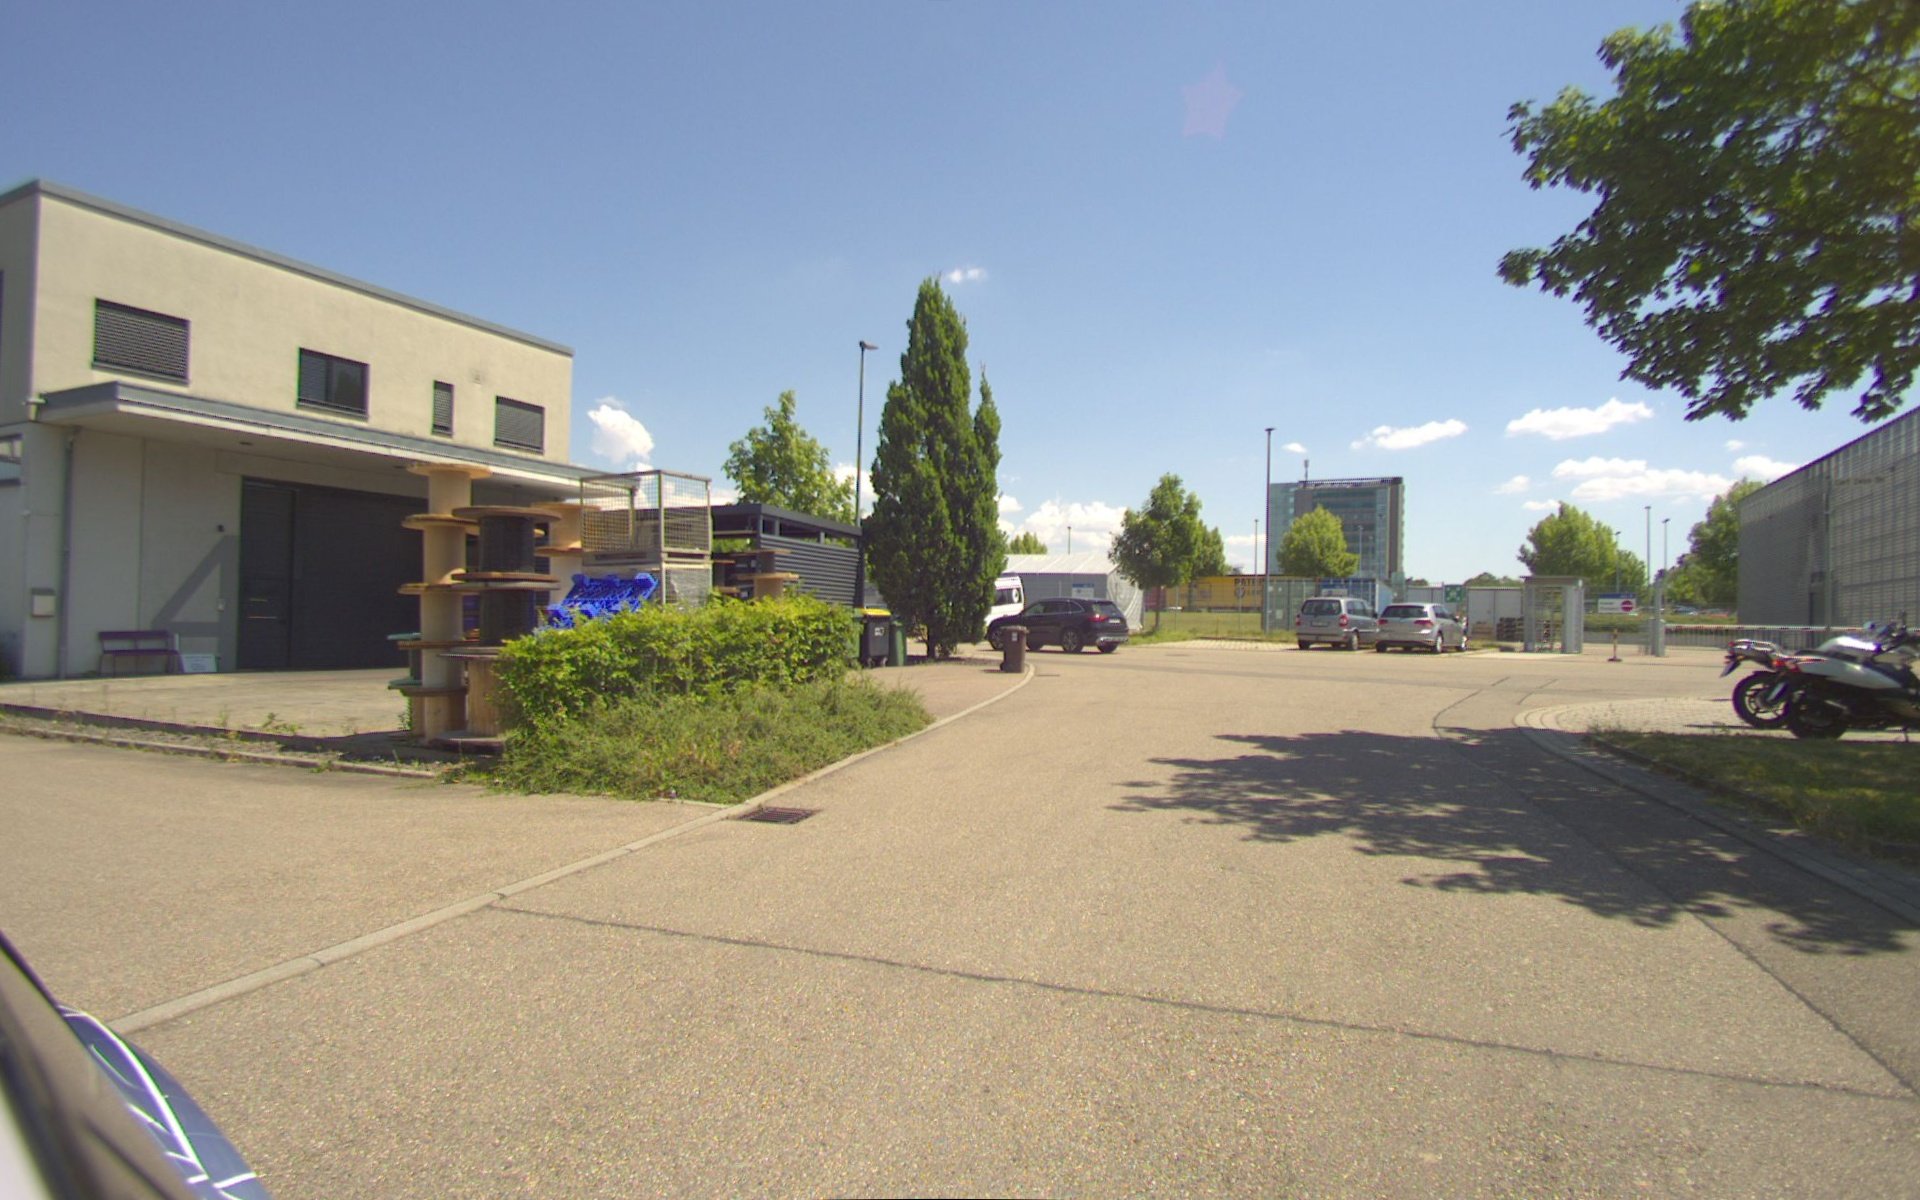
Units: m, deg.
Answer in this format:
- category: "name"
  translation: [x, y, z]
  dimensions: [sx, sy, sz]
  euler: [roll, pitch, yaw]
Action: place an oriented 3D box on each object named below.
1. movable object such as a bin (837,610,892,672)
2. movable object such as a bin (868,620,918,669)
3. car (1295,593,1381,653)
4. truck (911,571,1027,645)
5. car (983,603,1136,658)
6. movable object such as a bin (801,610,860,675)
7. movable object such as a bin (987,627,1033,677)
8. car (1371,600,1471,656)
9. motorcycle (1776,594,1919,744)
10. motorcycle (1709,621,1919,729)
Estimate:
- category: "movable object such as a bin"
  translation: [-2.153, 0.898, 22.787]
  dimensions: [0.757, 1.346, 1.061]
  euler: [0, 0, 32]
- category: "movable object such as a bin"
  translation: [-1.558, 1.035, 23.707]
  dimensions: [0.757, 1.092, 0.977]
  euler: [0, 0, 32]
- category: "car"
  translation: [11.830, 0.673, 31.568]
  dimensions: [1.767, 1.751, 3.956]
  euler: [0, 0, 32]
- category: "truck"
  translation: [0.468, 0.312, 40.131]
  dimensions: [2.406, 2.692, 5.646]
  euler: [-1, -1, 27]
- category: "car"
  translation: [2.912, 0.882, 30.175]
  dimensions: [4.258, 1.525, 1.932]
  euler: [-1, -1, 42]
- category: "movable object such as a bin"
  translation: [-2.751, 0.888, 21.587]
  dimensions: [0.757, 1.346, 1.061]
  euler: [0, 0, 32]
- category: "movable object such as a bin"
  translation: [1.018, 1.046, 20.718]
  dimensions: [0.757, 0.977, 0.584]
  euler: [0, 0, 32]
- category: "car"
  translation: [13.639, 0.775, 29.835]
  dimensions: [1.652, 1.533, 3.945]
  euler: [0, 0, 41]
- category: "motorcycle"
  translation: [9.094, 0.643, 9.646]
  dimensions: [1.974, 1.400, 0.481]
  euler: [-1, -1, 19]
- category: "motorcycle"
  translation: [9.434, 0.791, 11.023]
  dimensions: [1.974, 1.117, 0.481]
  euler: [-1, -1, 19]
